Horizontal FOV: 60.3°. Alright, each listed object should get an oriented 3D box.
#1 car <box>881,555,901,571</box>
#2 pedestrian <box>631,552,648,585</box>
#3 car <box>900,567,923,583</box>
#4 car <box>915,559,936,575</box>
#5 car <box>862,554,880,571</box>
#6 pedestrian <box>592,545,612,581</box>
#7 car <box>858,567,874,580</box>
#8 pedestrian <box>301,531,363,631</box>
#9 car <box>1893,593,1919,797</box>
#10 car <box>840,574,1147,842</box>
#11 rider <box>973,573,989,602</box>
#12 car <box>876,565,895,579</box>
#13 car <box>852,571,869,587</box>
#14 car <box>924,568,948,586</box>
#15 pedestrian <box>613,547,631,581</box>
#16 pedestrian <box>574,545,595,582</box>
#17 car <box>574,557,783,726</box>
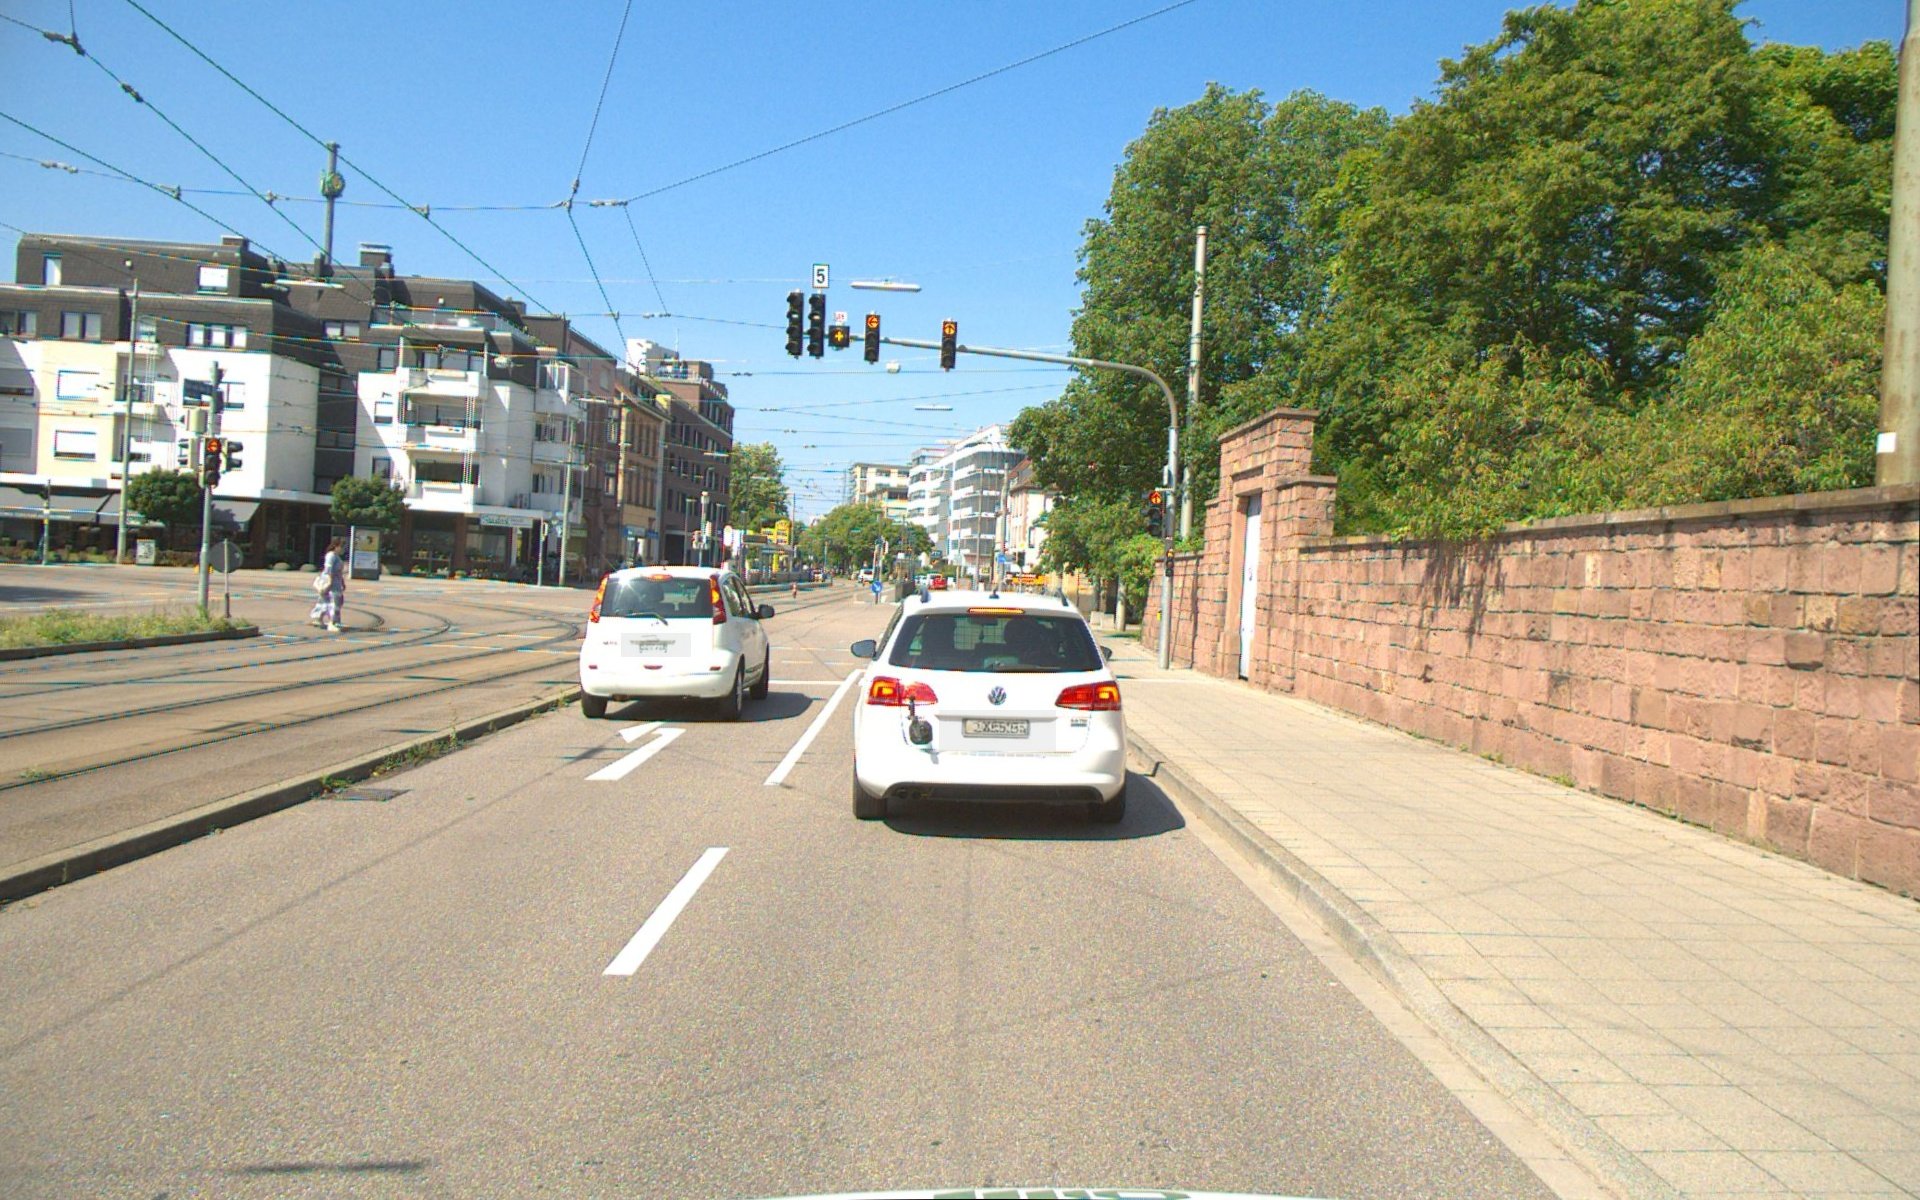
[{"bbox_3d":[-10.108,-5.454,243.304,1.962,2.048,3.983,5,1,-16],"label":"car"},{"bbox_3d":[-20.604,-2.027,106.307,0.919,2.048,0.989,2,0,-6],"label":"pedestrian"},{"bbox_3d":[-6.126,-3.161,209.446,1.961,1.937,3.984,2,1,-15],"label":"car"},{"bbox_3d":[-4.606,-4.429,221.948,1.960,2.048,3.986,2,1,-14],"label":"car"},{"bbox_3d":[-13.934,-5.908,259.936,1.960,2.499,4.133,2,1,-14],"label":"car"},{"bbox_3d":[-20.633,-2.136,95.299,0.918,2.048,0.989,2,1,-6],"label":"pedestrian"},{"bbox_3d":[-13.085,-3.664,229.296,1.668,1.618,3.526,2,1,-11],"label":"car"},{"bbox_3d":[-11.443,-0.351,30.172,0.811,1.769,0.930,2,0,-9],"label":"pedestrian"},{"bbox_3d":[8.725,0.789,11.710,3.339,1.489,1.524,3,1,-2],"label":"car"},{"bbox_3d":[0.226,0.593,11.436,1.742,1.516,3.847,1,1,1],"label":"car"},{"bbox_3d":[1.271,-0.780,101.326,0.873,1.758,2.203,3,1,0],"label":"rider"},{"bbox_3d":[-11.182,-4.178,247.845,1.960,2.048,3.986,2,1,-14],"label":"car"},{"bbox_3d":[-10.832,-2.276,180.671,1.664,1.618,3.534,2,1,-2],"label":"car"},{"bbox_3d":[-3.027,-2.920,207.623,1.960,2.048,3.986,2,1,-14],"label":"car"},{"bbox_3d":[-20.606,-2.194,100.782,0.918,2.048,0.990,2,1,-5],"label":"pedestrian"},{"bbox_3d":[-21.560,-2.103,94.983,0.918,2.048,0.990,2,1,-5],"label":"pedestrian"},{"bbox_3d":[-3.016,0.364,18.446,1.695,1.624,4.010,2,1,-1],"label":"car"}]
